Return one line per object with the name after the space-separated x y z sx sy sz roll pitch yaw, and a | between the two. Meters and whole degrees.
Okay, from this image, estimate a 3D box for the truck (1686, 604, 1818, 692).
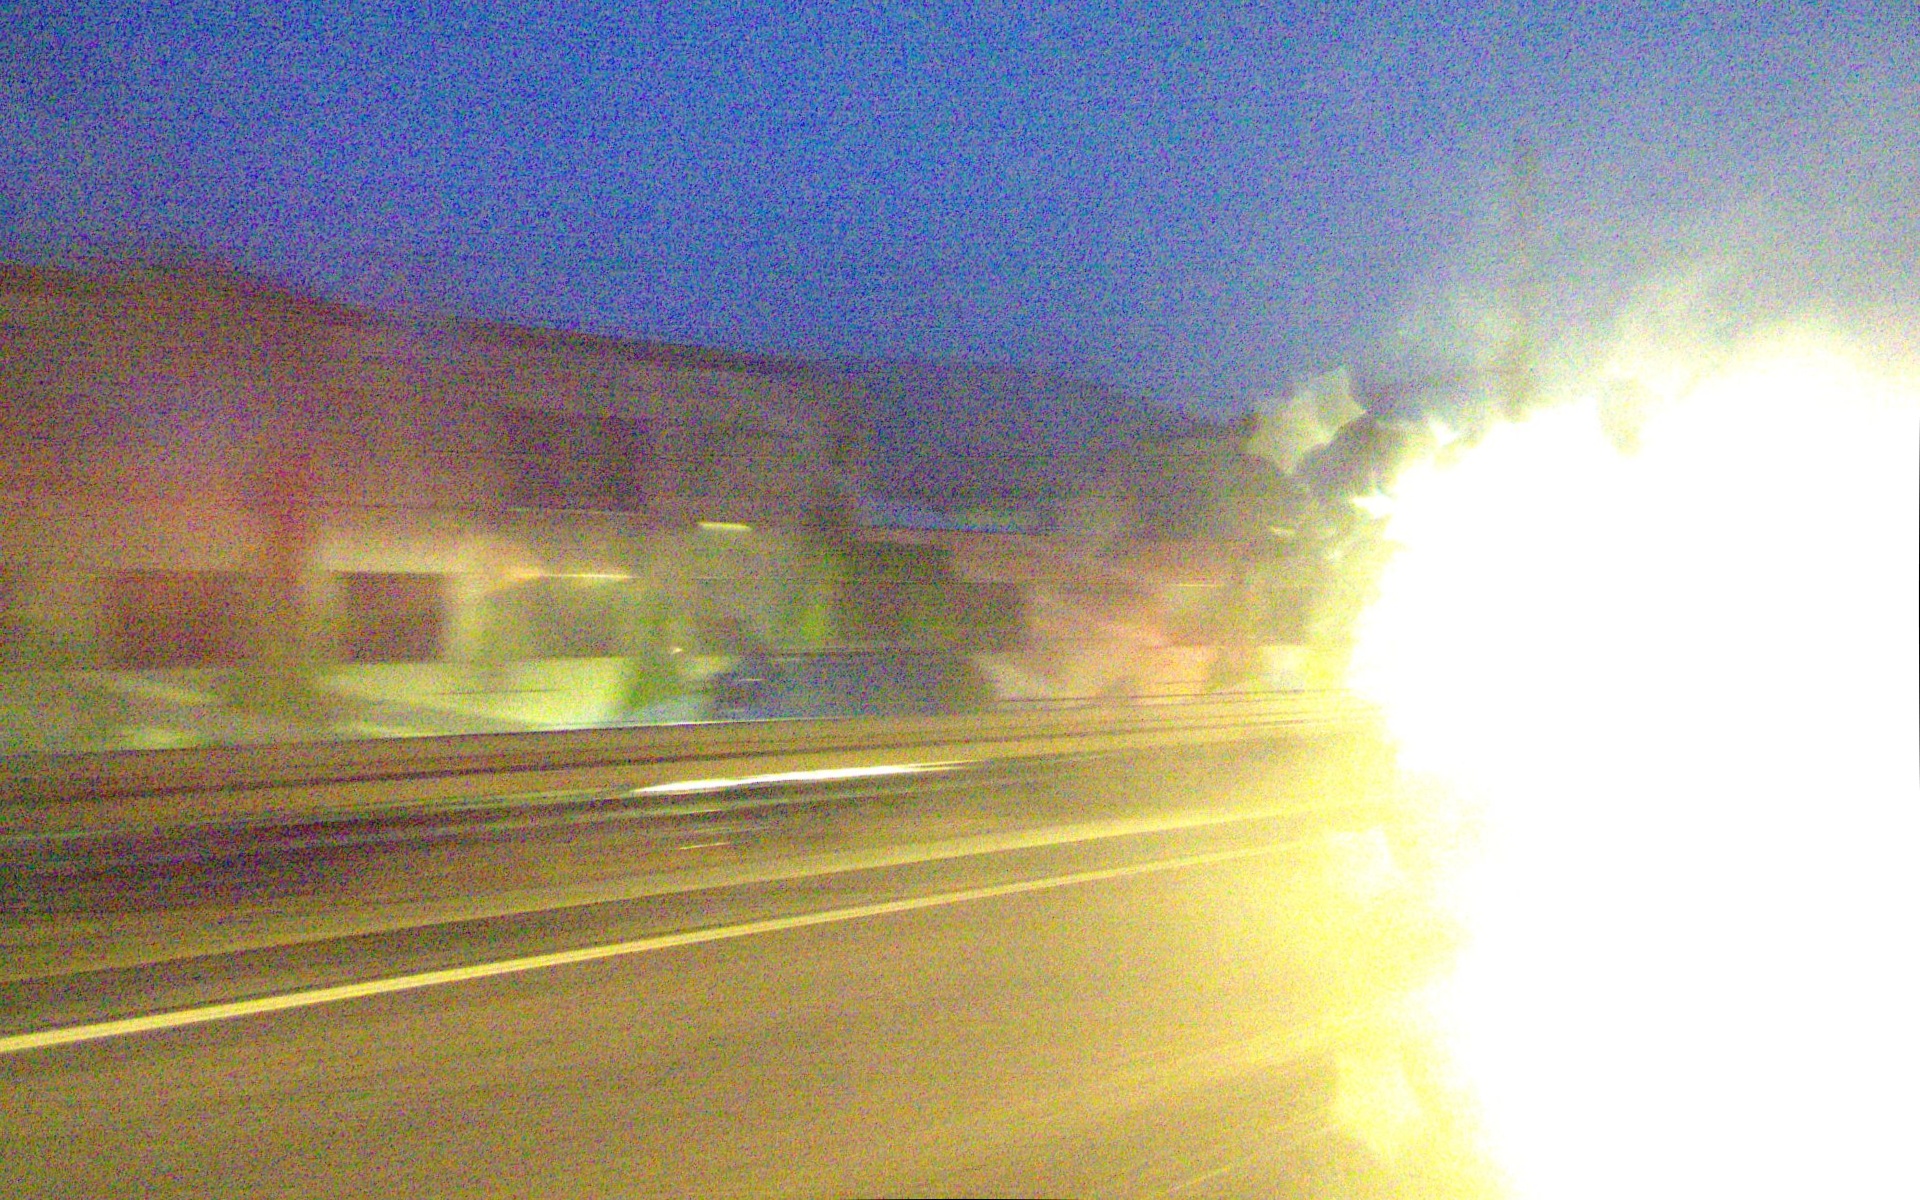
46.828 2.798 59.371 7.223 4.860 3.316 2 0 -26 | truck

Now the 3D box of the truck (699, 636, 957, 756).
-4.305 3.013 33.233 7.998 3.529 2.747 1 0 -26 | truck

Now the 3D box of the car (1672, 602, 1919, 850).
7.702 0.890 8.121 3.685 1.639 1.818 2 0 -31 | car

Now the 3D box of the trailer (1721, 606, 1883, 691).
52.113 2.962 62.038 11.403 4.860 3.316 2 0 -26 | trailer

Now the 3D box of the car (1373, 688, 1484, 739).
18.293 4.381 39.206 4.241 1.698 1.800 2 0 -30 | car
